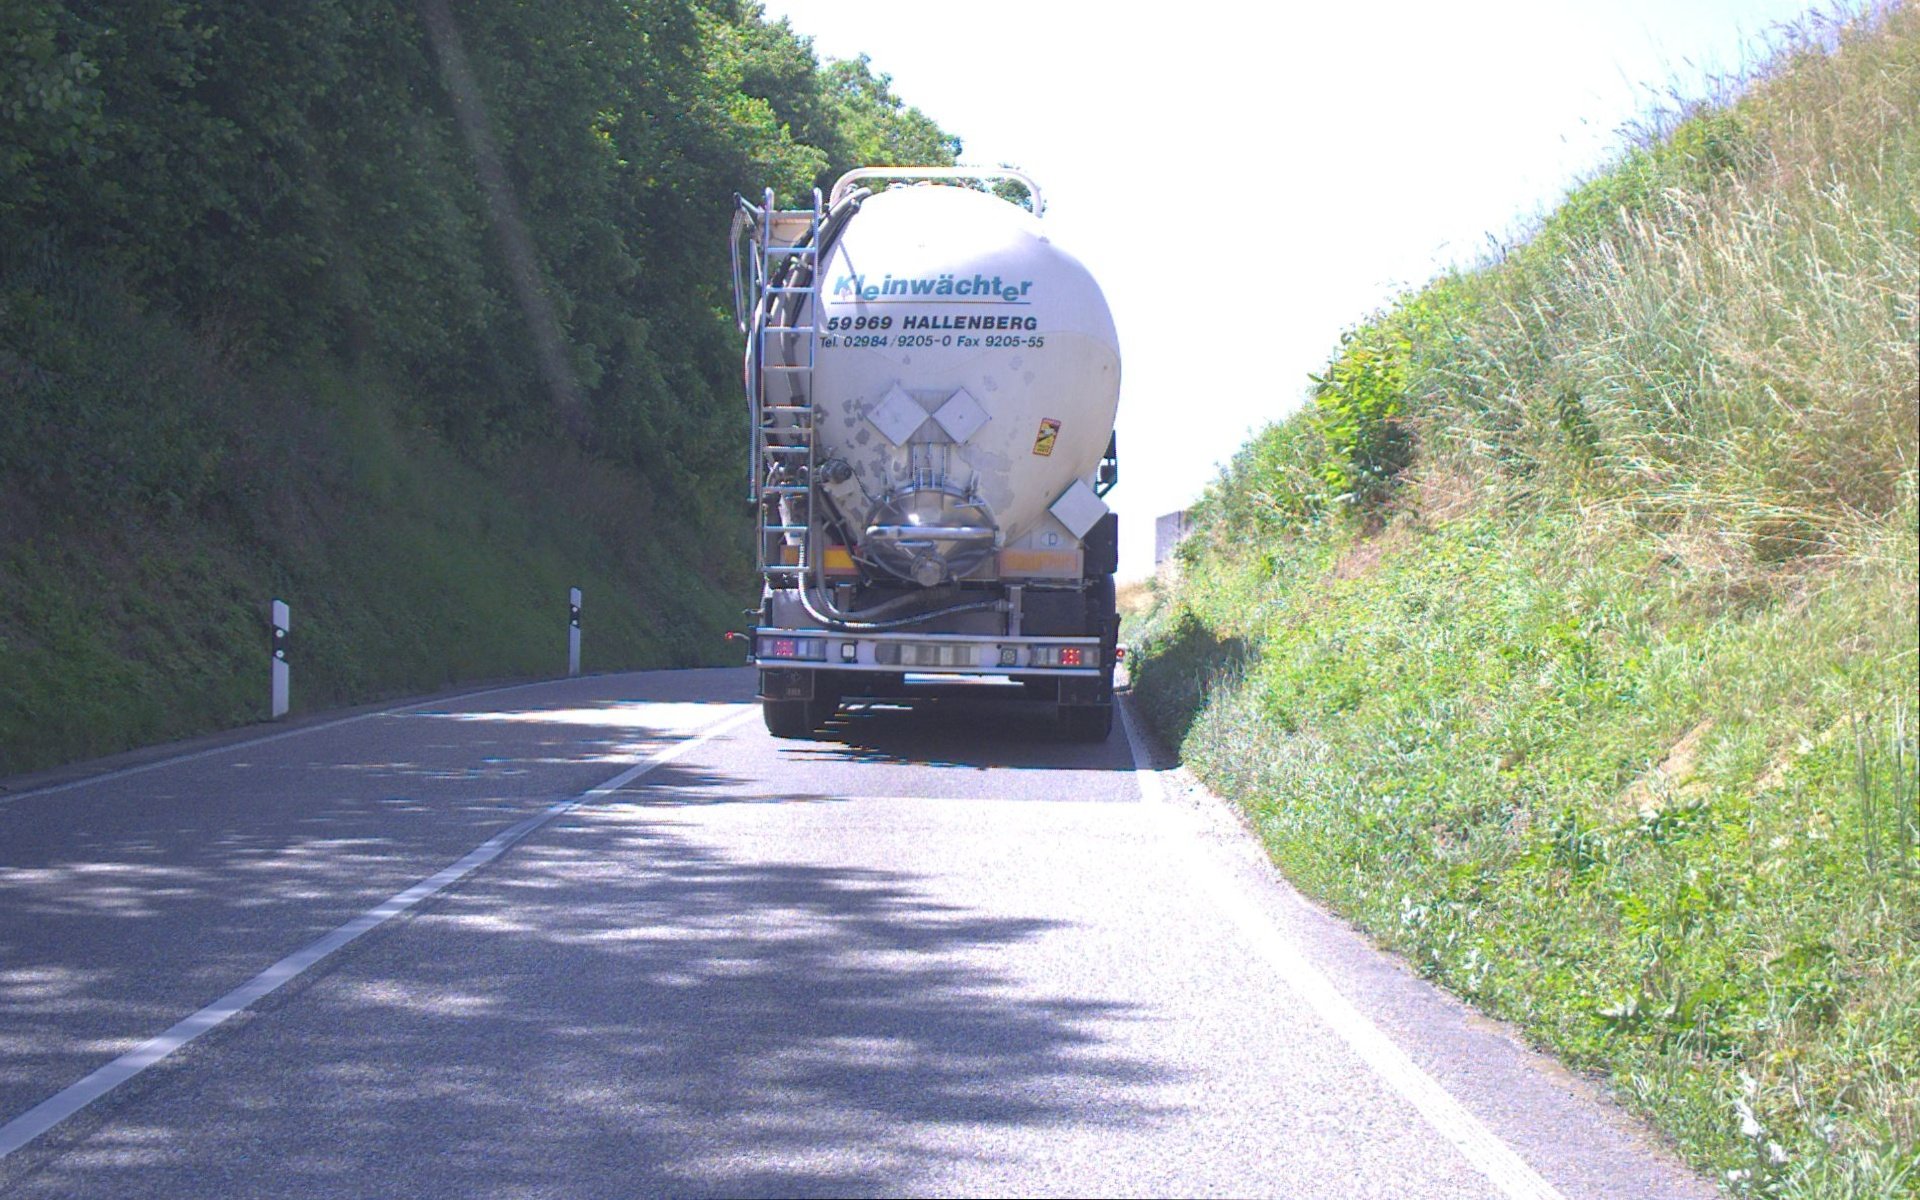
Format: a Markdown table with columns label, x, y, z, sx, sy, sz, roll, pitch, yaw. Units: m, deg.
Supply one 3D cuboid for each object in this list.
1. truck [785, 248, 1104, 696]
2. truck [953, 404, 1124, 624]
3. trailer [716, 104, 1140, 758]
| label | x | y | z | sx | sy | sz | roll | pitch | yaw |
| --- | --- | --- | --- | --- | --- | --- | --- | --- | --- |
| truck | 0.013 | -1.133 | 34.121 | 2.727 | 3.916 | 7.262 | 1 | 0 | 2 |
| truck | 1.772 | -1.821 | 76.385 | 3.190 | 4.295 | 11.799 | 4 | 1 | 2 |
| trailer | -0.122 | -1.192 | 28.179 | 2.661 | 4.174 | 11.904 | 1 | 1 | 1 |
